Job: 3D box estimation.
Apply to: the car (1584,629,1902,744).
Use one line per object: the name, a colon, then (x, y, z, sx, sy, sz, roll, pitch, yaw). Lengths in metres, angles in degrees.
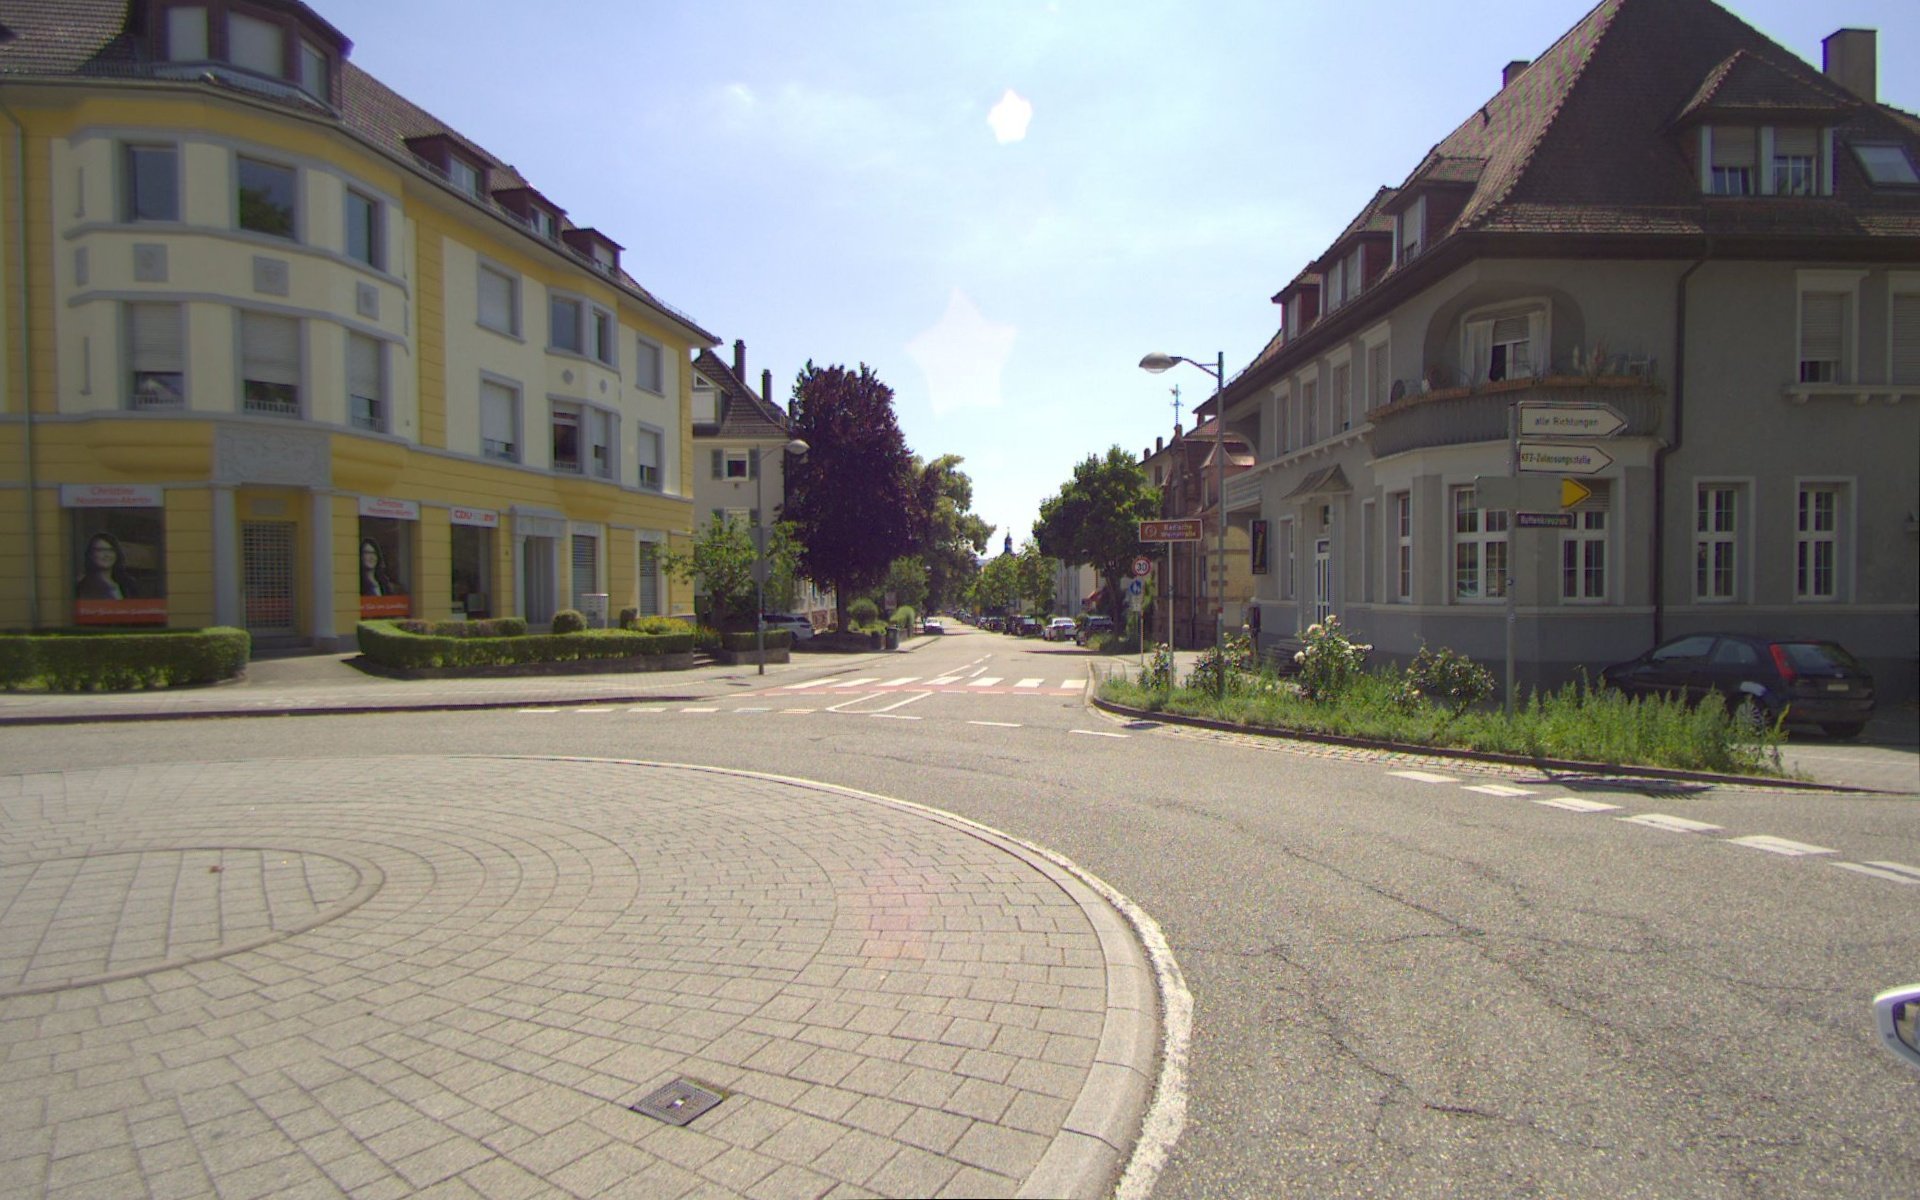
car: (11.789, 1.233, 15.480, 1.692, 1.479, 3.789, 1, -1, -7)

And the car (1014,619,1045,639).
car: (5.630, 2.354, 81.905, 1.961, 1.529, 4.417, 1, -1, -3)

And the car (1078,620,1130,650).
car: (7.767, 1.861, 54.575, 1.961, 1.529, 4.417, 1, -1, -3)

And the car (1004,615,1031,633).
car: (5.317, 2.208, 93.251, 1.961, 1.529, 4.417, 1, -1, -3)

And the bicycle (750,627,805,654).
bicycle: (-8.050, 1.773, 44.412, 2.343, 1.154, 0.668, 1, -1, -7)

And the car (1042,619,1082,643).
car: (6.729, 2.030, 66.666, 1.961, 1.529, 4.417, 1, -1, -3)

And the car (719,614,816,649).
car: (-8.916, 1.455, 46.771, 4.339, 1.529, 1.997, 1, -1, -9)

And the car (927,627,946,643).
car: (-2.310, 3.430, 98.627, 1.775, 1.472, 3.999, 1, -1, -2)

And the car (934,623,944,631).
car: (-3.966, 5.026, 189.046, 1.775, 1.472, 3.999, 1, -1, -2)

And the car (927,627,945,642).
car: (-2.509, 3.568, 104.521, 1.775, 1.472, 3.999, 1, -1, -2)

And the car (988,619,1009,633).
car: (4.296, 2.941, 113.780, 1.961, 1.529, 4.417, 1, -1, -3)
